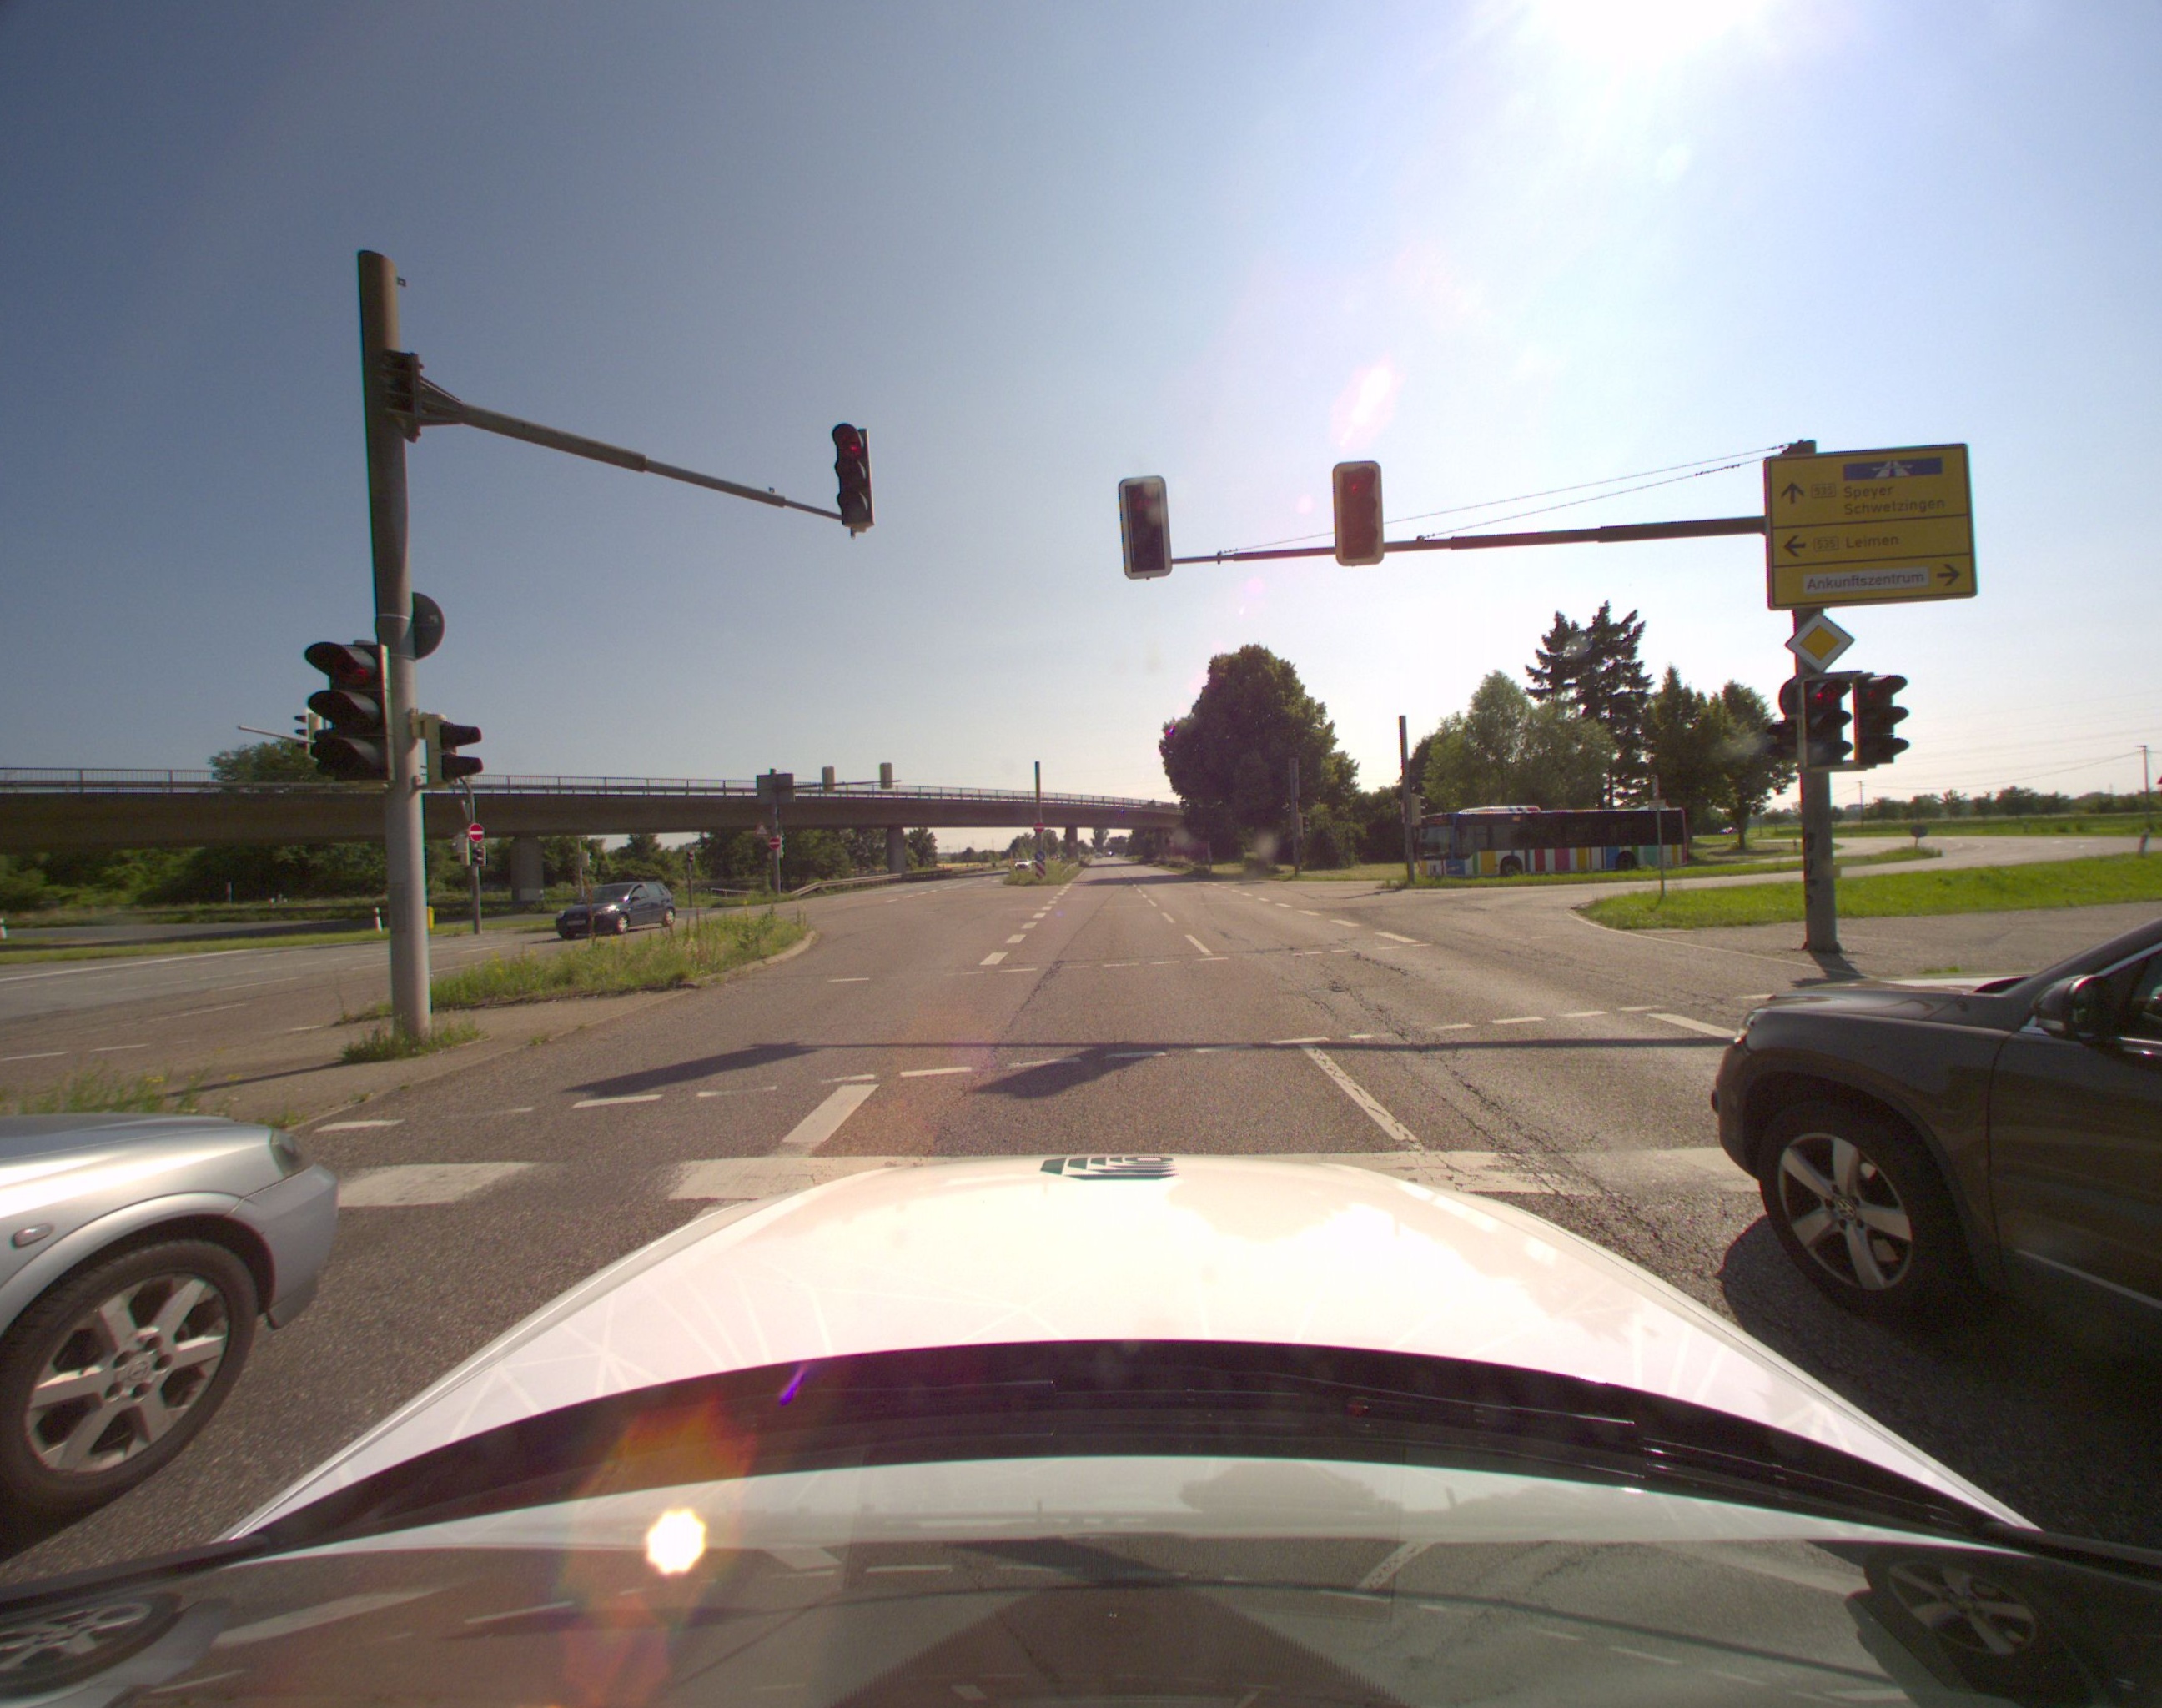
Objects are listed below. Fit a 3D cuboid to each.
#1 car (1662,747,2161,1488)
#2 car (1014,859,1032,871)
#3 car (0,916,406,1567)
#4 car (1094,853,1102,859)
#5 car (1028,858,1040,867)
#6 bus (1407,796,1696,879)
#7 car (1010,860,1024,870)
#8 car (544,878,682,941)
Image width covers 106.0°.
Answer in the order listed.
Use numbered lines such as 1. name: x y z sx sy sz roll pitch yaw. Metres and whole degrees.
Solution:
1. car: 3.272 0.579 1.327 1.749 1.655 4.147 -1 0 1
2. car: -7.509 1.427 106.084 1.850 1.448 4.241 -5 0 1
3. car: -3.245 0.919 0.748 1.667 1.335 4.100 -3 0 2
4. car: 4.813 0.450 228.958 1.843 1.460 4.003 -5 0 3
5. car: -8.718 1.578 151.514 1.784 1.628 4.000 -3 0 1
6. bus: 20.230 -0.727 35.019 11.954 2.877 2.928 -3 0 -14
7. car: -10.037 1.751 127.546 1.634 1.385 4.241 -3 0 1
8. car: -13.308 1.524 23.430 1.608 1.442 3.777 -5 0 2
